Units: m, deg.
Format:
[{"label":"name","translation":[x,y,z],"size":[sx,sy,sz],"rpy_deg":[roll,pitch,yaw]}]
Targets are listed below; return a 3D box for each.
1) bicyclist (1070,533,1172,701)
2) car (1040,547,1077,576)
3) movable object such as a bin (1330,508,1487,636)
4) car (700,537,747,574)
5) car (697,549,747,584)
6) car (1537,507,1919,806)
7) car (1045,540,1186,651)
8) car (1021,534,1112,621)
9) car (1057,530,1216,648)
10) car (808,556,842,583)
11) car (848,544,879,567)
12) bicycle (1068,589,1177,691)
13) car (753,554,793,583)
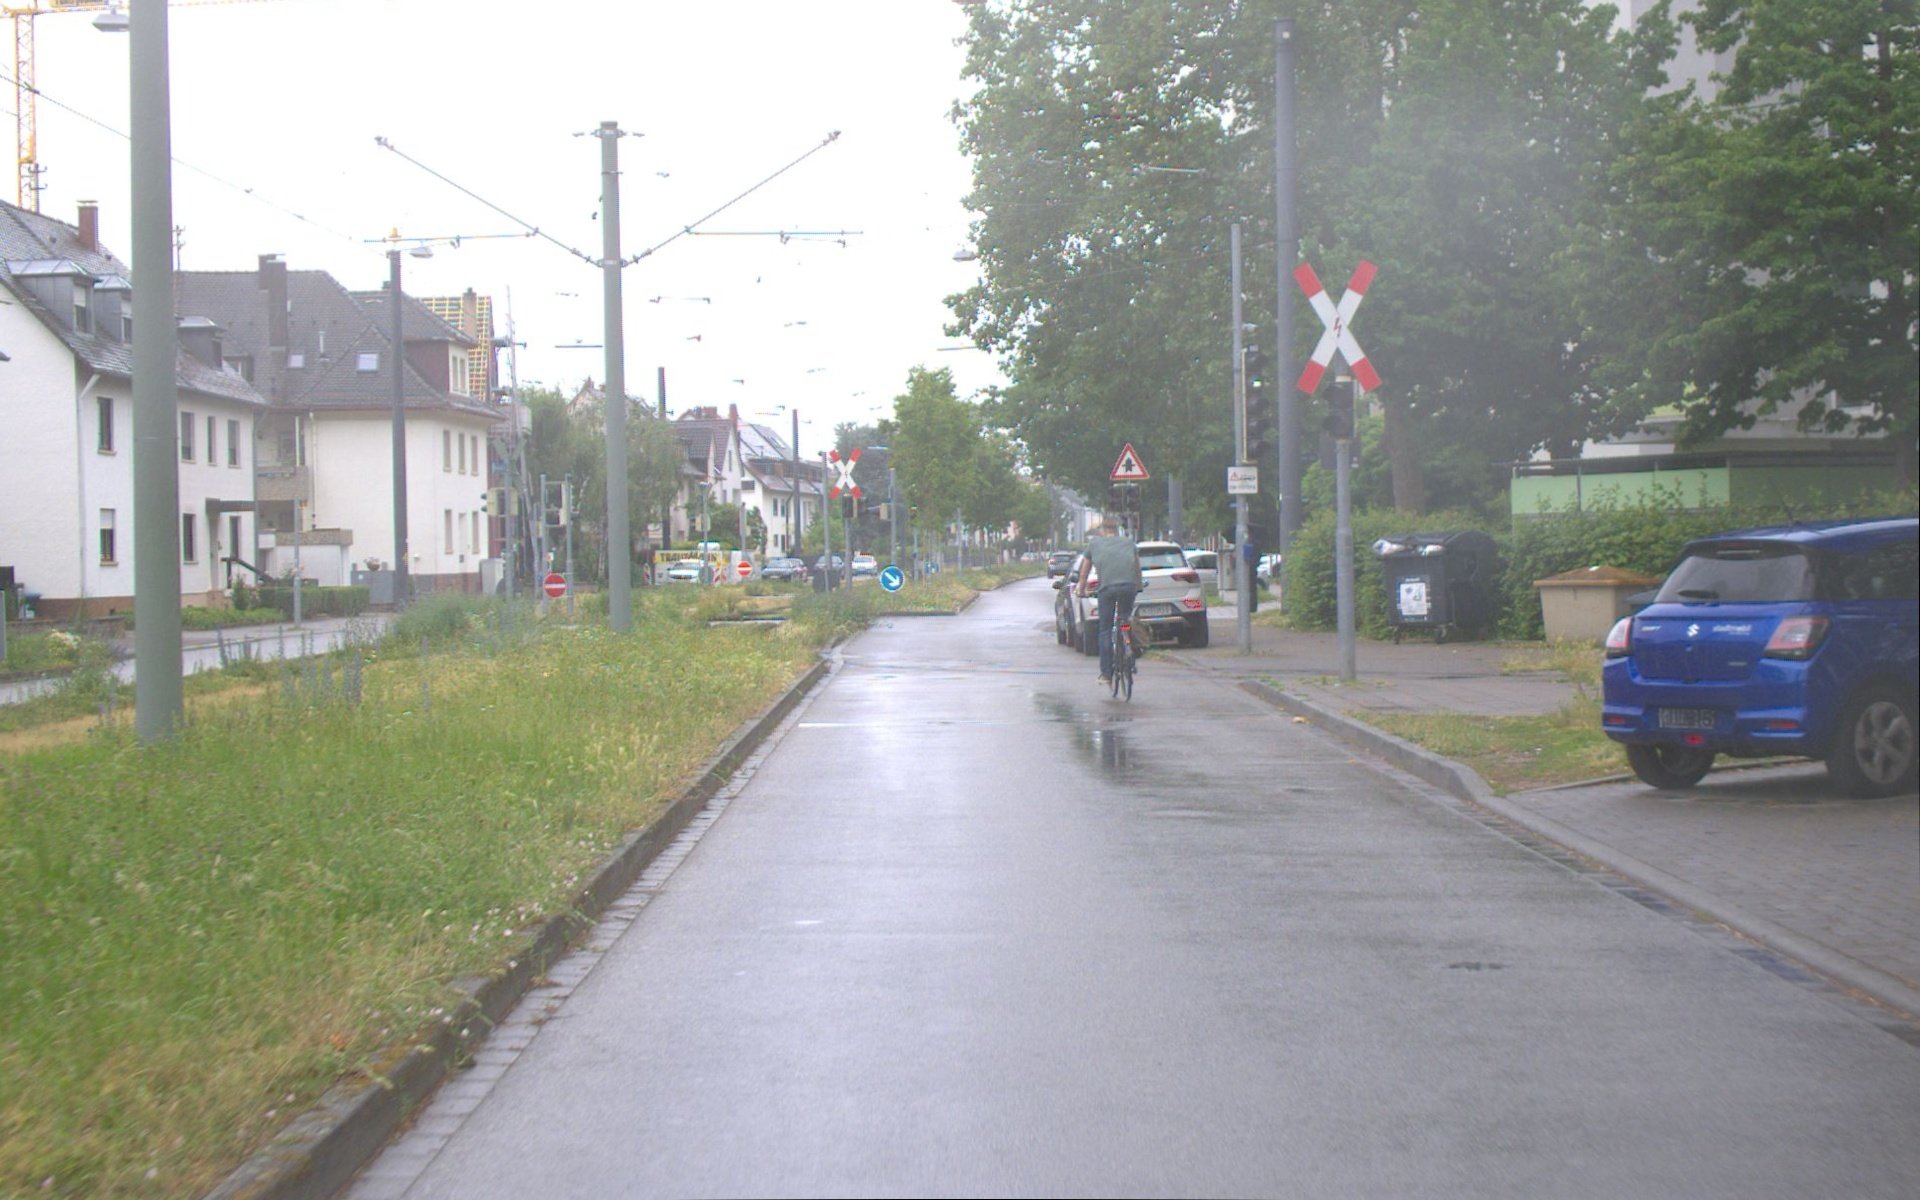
[{"label":"bicyclist","translation":[1.526,0.163,32.753],"size":[0.831,1.553,0.914],"rpy_deg":[-2,0,-3]},{"label":"car","translation":[5.576,-2.195,195.305],"size":[1.993,1.487,4.000],"rpy_deg":[-1,-1,0]},{"label":"movable object such as a bin","translation":[6.208,-0.389,47.654],"size":[1.549,1.698,1.501],"rpy_deg":[-2,1,-24]},{"label":"car","translation":[-11.816,-2.223,171.794],"size":[1.993,1.699,4.000],"rpy_deg":[-1,-1,1]},{"label":"car","translation":[-11.479,-1.589,165.949],"size":[1.993,1.539,4.000],"rpy_deg":[-1,-1,1]},{"label":"car","translation":[5.510,0.234,19.743],"size":[3.987,1.478,2.000],"rpy_deg":[-2,3,-31]},{"label":"car","translation":[2.474,-0.070,55.734],"size":[1.941,1.646,4.000],"rpy_deg":[-3,0,-1]},{"label":"car","translation":[2.597,-0.544,84.761],"size":[1.941,2.006,4.000],"rpy_deg":[-3,0,-1]},{"label":"car","translation":[2.515,-0.150,49.937],"size":[1.954,1.548,4.000],"rpy_deg":[-3,0,-1]},{"label":"car","translation":[-8.740,-1.972,222.874],"size":[1.993,1.539,4.000],"rpy_deg":[-1,-1,1]},{"label":"car","translation":[-6.857,-3.165,245.052],"size":[1.993,1.539,4.000],"rpy_deg":[-1,-1,1]},{"label":"bicycle","translation":[1.532,0.371,32.773],"size":[0.821,0.909,1.986],"rpy_deg":[-2,0,-3]},{"label":"car","translation":[-10.705,-1.799,197.258],"size":[1.993,1.539,4.000],"rpy_deg":[-1,-1,1]}]
